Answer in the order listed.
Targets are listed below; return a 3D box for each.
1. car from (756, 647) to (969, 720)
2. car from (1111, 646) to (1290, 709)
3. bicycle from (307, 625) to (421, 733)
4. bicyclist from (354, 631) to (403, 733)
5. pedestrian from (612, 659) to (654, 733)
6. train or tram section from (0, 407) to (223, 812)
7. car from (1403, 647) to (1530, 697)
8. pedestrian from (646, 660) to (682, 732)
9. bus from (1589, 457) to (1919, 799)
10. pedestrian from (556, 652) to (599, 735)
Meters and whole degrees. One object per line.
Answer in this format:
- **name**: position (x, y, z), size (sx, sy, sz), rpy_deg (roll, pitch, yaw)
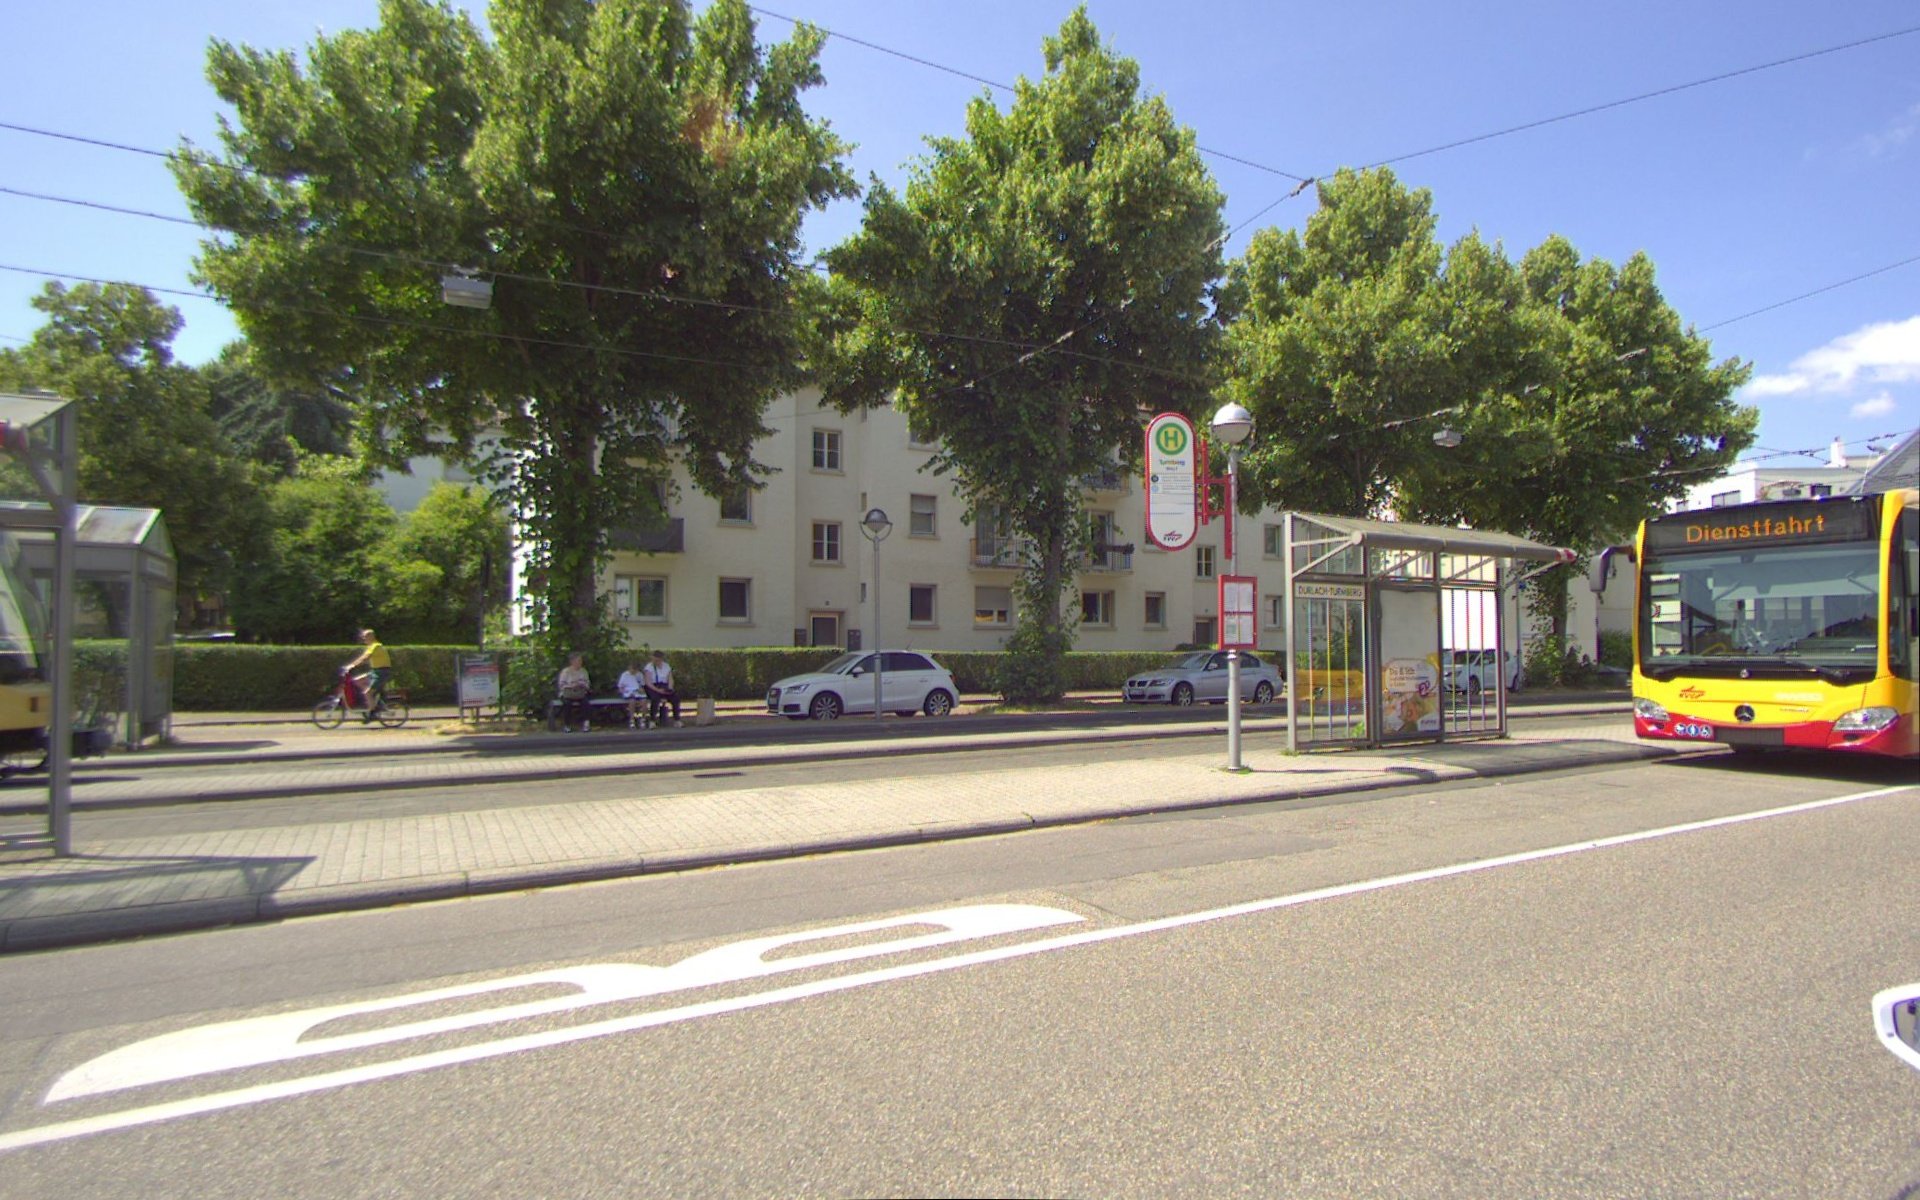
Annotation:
- **car**: position (-1.921, 1.665, 20.193), size (3.953, 1.290, 1.561), rpy_deg (3, -2, -30)
- **car**: position (5.984, 1.914, 24.894), size (4.350, 1.375, 1.686), rpy_deg (3, -2, -30)
- **bicycle**: position (-10.623, 1.404, 17.965), size (1.650, 1.837, 0.629), rpy_deg (3, -1, -30)
- **bicyclist**: position (-10.465, 1.463, 18.093), size (0.665, 1.766, 0.632), rpy_deg (3, -1, -30)
- **pedestrian**: position (-5.375, 1.565, 16.496), size (0.533, 1.153, 0.613), rpy_deg (3, -1, -27)
- **train or tram section**: position (-14.373, -0.093, 7.582), size (13.829, 3.691, 2.949), rpy_deg (2, -1, -30)
- **car**: position (15.389, 2.187, 30.490), size (3.958, 1.336, 1.704), rpy_deg (3, -2, -33)
- **pedestrian**: position (-4.943, 1.603, 16.766), size (0.451, 1.153, 0.508), rpy_deg (3, -1, -27)
- **bus**: position (13.517, 0.461, 13.977), size (11.978, 3.291, 2.893), rpy_deg (2, -1, -31)
- **pedestrian**: position (-6.123, 1.482, 16.051), size (0.533, 1.267, 0.613), rpy_deg (3, -1, -27)
